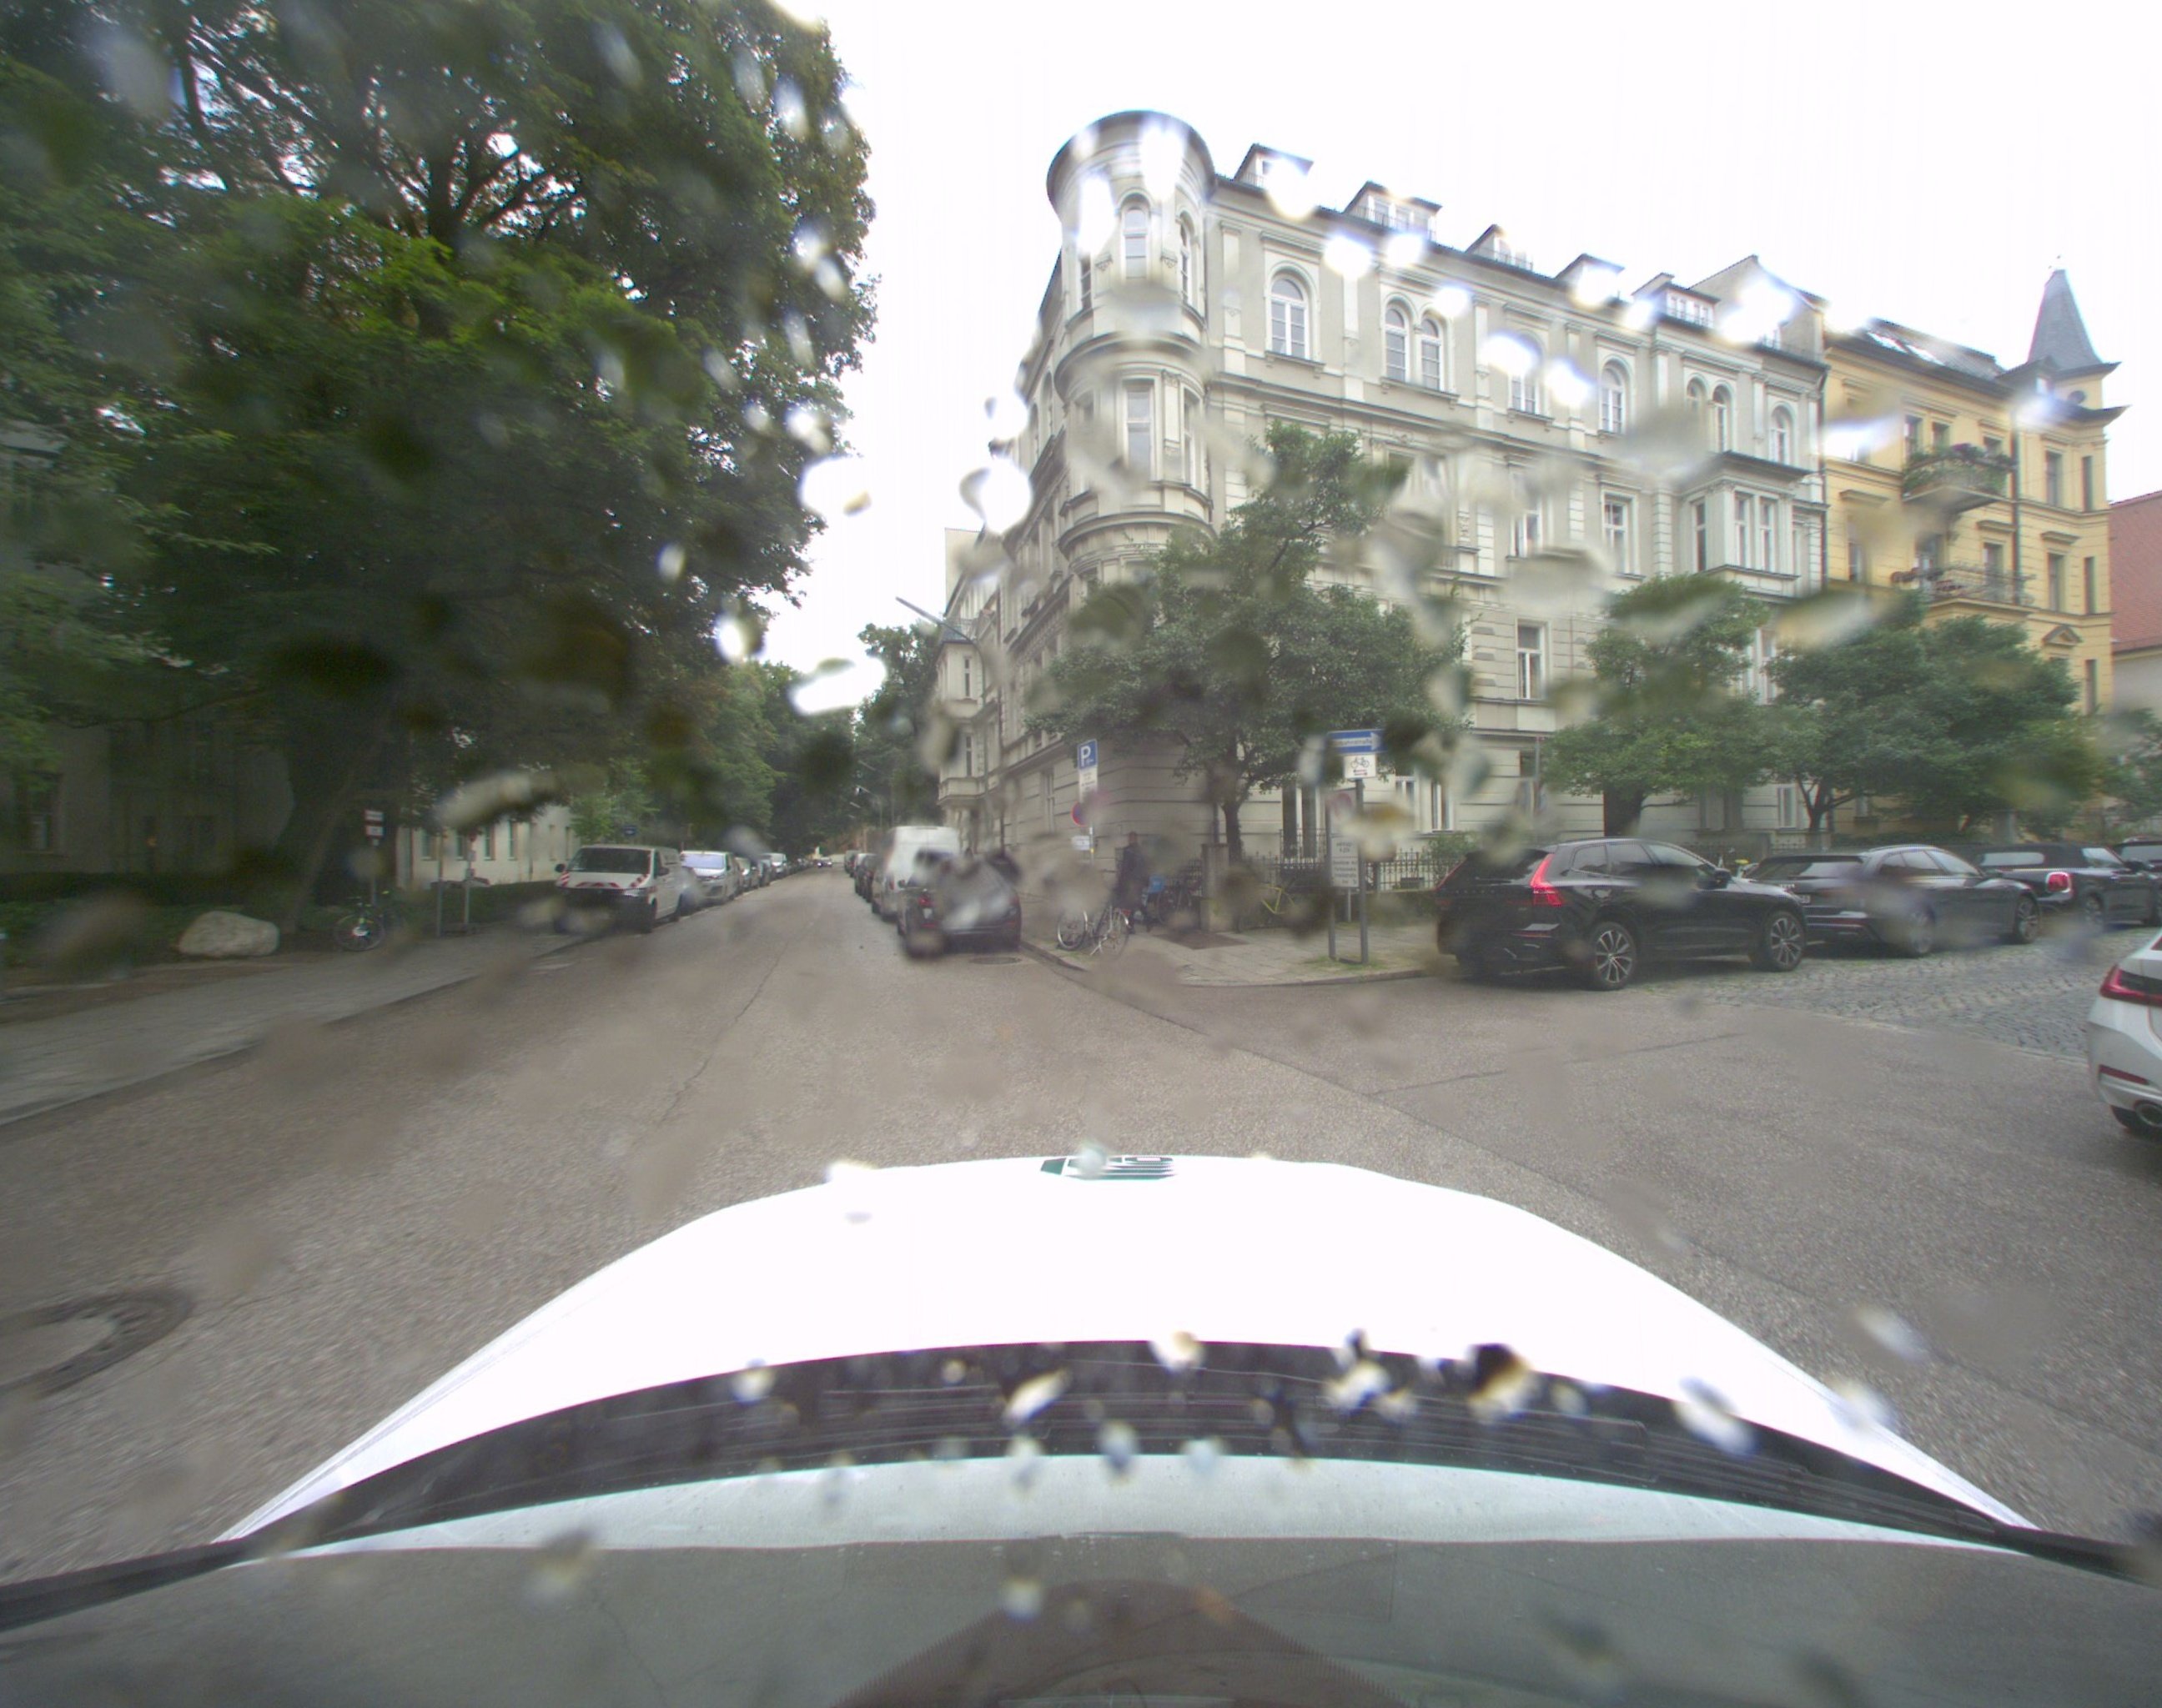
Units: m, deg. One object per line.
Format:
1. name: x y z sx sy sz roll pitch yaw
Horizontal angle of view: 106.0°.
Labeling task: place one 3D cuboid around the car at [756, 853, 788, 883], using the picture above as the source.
1. car: -23.354 1.030 61.730 2.008 2.186 4.667 0 0 -18

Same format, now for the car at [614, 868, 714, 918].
1. car: -12.498 1.107 24.694 2.220 1.329 3.921 0 0 -20

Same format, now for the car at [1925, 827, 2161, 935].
1. car: 15.987 0.399 13.313 3.729 1.516 1.696 -2 -2 -22

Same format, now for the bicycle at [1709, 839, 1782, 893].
1. bicycle: 14.783 0.247 18.103 1.888 1.132 0.361 -1 1 -21

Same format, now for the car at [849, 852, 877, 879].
1. car: -16.674 0.863 62.296 1.997 1.975 3.979 -2 0 -15

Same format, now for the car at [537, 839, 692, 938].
1. car: -10.660 0.703 19.108 2.255 1.956 5.416 0 0 -20

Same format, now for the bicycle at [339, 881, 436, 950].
1. bicycle: -12.418 1.067 14.645 0.634 1.102 1.758 0 -1 -15

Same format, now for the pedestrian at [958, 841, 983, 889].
1. pedestrian: -4.359 0.424 32.191 0.861 1.835 0.663 -1 0 -17

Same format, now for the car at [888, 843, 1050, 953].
1. car: -2.206 0.680 14.722 2.277 1.546 4.563 -3 0 -15

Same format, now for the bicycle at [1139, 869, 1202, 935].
1. bicycle: 1.585 0.828 14.681 0.430 1.028 1.880 -2 1 -16

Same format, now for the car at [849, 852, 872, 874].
1. car: -21.839 0.858 80.673 1.997 2.013 3.979 -2 0 -15

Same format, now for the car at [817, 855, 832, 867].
1. car: -38.977 1.031 123.824 1.997 1.783 3.979 -2 0 -15

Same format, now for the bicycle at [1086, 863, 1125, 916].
1. bicycle: 0.528 0.760 18.054 0.546 1.060 1.746 -1 0 -8

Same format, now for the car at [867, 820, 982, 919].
1. car: -4.233 0.368 21.346 2.210 2.208 4.824 -3 0 -19

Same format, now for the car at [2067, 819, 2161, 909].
1. car: 20.418 0.139 14.836 4.337 1.541 1.720 -1 -4 -20

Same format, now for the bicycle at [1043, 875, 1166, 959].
1. bicycle: 0.291 0.868 11.921 0.658 1.028 2.179 -2 1 -33

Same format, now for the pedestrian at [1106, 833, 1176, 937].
1. pedestrian: 1.023 0.509 14.019 0.859 1.689 0.970 -3 0 -16

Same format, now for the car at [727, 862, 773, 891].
1. car: -18.598 1.231 45.917 1.964 1.527 4.022 0 0 -15

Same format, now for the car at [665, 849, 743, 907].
1. car: -13.885 0.817 30.311 2.191 1.956 5.131 0 0 -20

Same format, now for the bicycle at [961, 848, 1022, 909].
1. bicycle: -2.376 0.634 21.430 0.712 1.515 2.017 -2 0 -34

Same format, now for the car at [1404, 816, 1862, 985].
1. car: 6.655 0.482 9.850 5.055 1.652 1.930 -1 -4 -20

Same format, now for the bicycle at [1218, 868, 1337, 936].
1. bicycle: 3.343 0.797 13.877 1.926 1.028 0.554 -2 1 -15

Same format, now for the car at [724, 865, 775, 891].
1. car: -18.590 1.327 45.848 2.121 1.329 4.117 0 0 -14

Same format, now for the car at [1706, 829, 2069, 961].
1. car: 11.614 0.502 11.695 5.183 1.505 1.797 -2 -2 -23

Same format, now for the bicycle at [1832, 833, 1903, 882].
1. bicycle: 19.151 0.075 19.826 1.832 1.102 0.370 -2 1 -16

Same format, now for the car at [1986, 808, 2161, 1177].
1. car: 6.952 0.524 3.848 4.923 1.531 1.900 -2 3 -20

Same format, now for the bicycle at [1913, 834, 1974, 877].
1. bicycle: 22.065 0.027 20.833 1.765 1.027 0.417 -1 1 -20

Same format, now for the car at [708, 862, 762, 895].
1. car: -17.378 1.195 41.098 2.075 1.519 4.212 0 0 -18

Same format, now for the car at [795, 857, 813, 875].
1. car: -33.987 1.500 99.939 2.054 2.154 4.284 0 0 -20

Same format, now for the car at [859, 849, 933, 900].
1. car: -6.837 0.725 29.739 2.145 1.630 4.288 -3 0 -19
